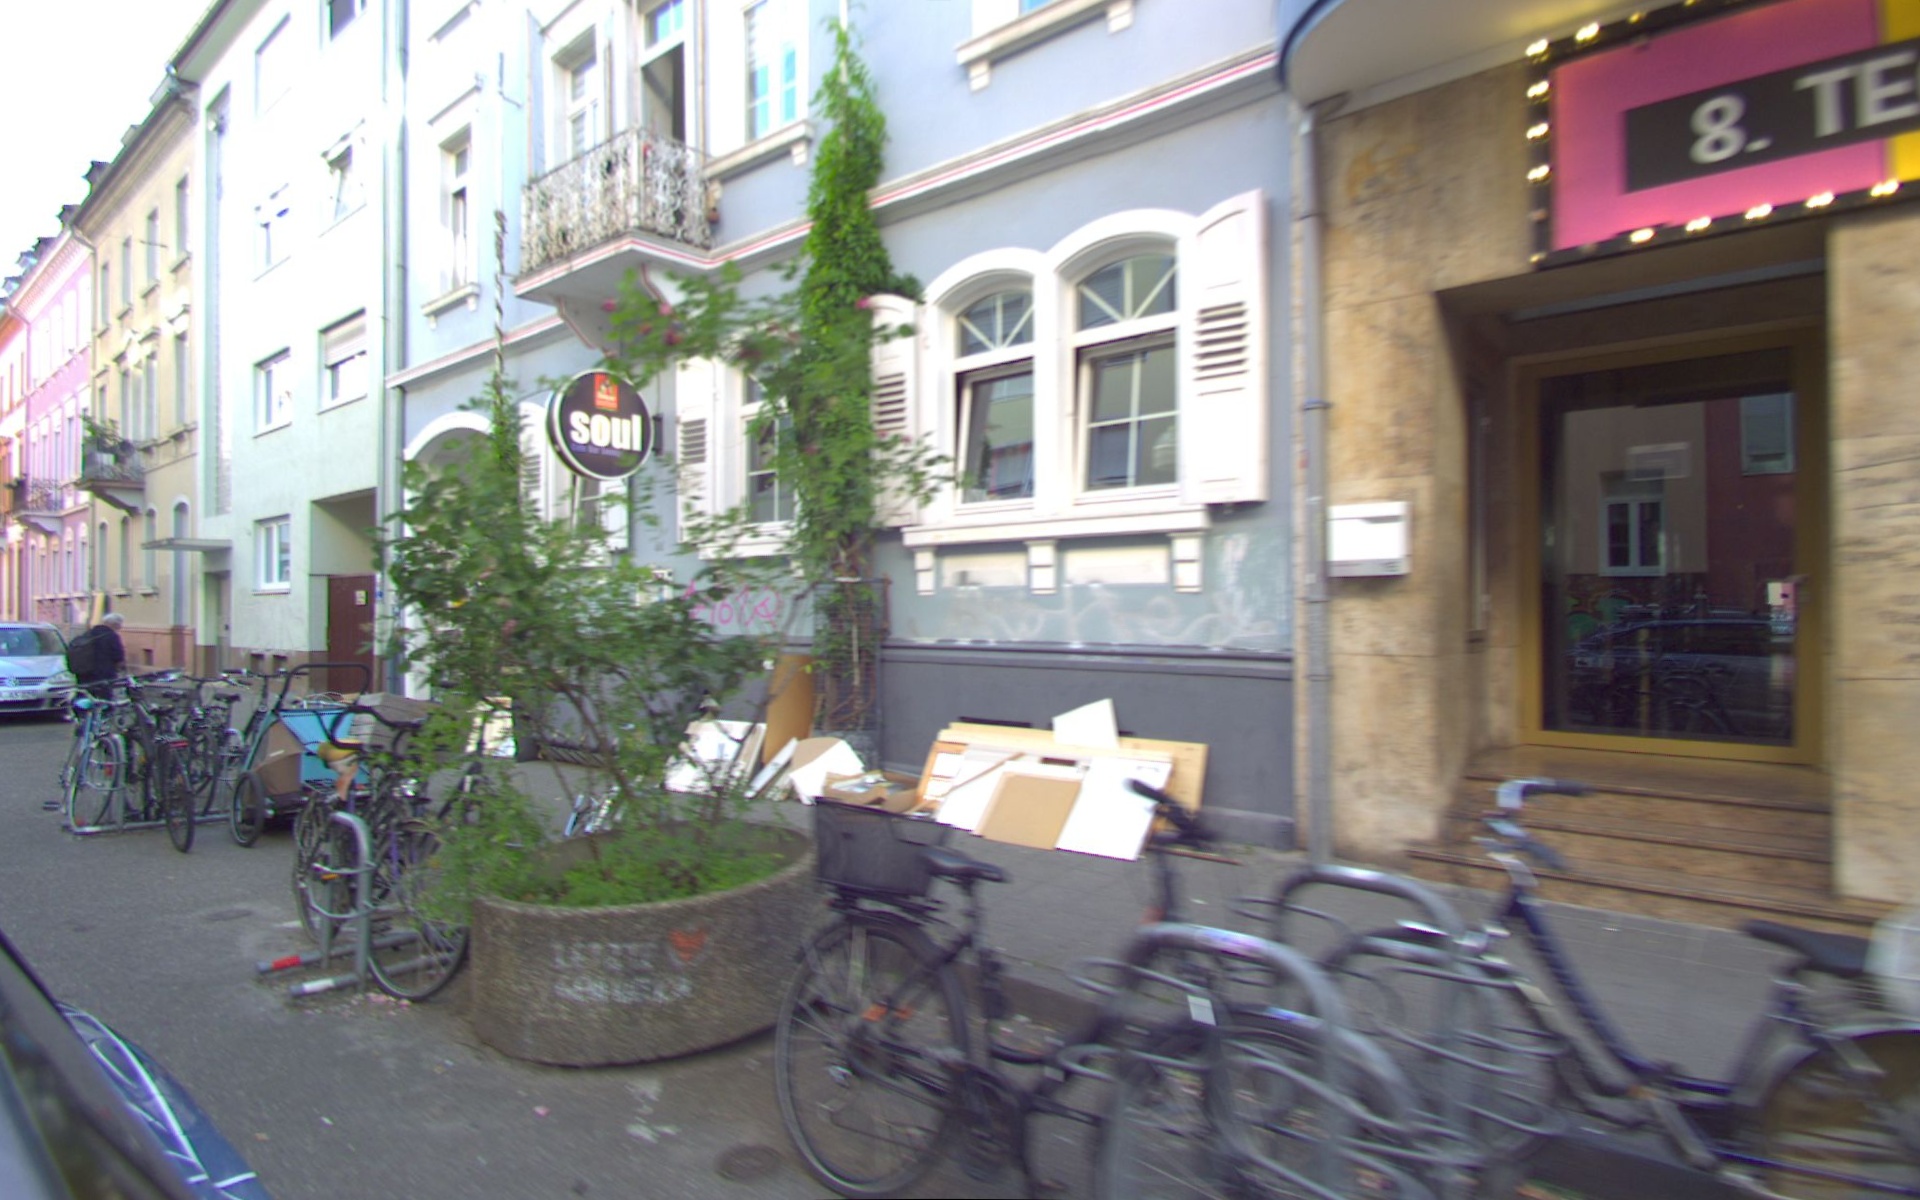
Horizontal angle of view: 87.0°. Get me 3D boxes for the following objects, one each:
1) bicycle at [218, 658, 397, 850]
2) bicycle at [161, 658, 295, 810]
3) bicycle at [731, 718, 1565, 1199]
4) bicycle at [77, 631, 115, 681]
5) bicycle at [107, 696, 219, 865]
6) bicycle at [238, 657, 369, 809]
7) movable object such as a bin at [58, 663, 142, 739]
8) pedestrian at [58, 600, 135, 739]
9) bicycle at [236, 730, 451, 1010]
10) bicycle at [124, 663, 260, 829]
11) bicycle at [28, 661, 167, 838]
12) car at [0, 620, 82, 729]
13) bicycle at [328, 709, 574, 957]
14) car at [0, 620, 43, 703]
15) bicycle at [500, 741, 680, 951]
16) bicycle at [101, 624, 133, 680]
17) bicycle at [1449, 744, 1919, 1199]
[{"bbox_3d":[-4.581,1.026,7.110,0.919,1.184,0.805,-1,-1,38],"label":"bicycle"},{"bbox_3d":[-6.204,1.073,8.540,1.872,1.114,0.439,-1,-1,39],"label":"bicycle"},{"bbox_3d":[0.305,0.908,2.385,1.878,1.102,0.541,-1,0,37],"label":"bicycle"},{"bbox_3d":[-19.791,1.270,23.180,1.493,1.110,0.413,-1,-1,40],"label":"bicycle"},{"bbox_3d":[-5.169,1.121,6.543,1.289,0.923,0.318,-1,-2,41],"label":"bicycle"},{"bbox_3d":[-5.529,1.063,8.482,1.696,1.114,0.439,-1,-1,40],"label":"bicycle"},{"bbox_3d":[-11.440,1.328,13.483,0.834,0.904,0.587,-1,0,-40],"label":"movable object such as a bin"},{"bbox_3d":[-11.152,0.870,13.088,0.704,1.720,0.673,0,0,-37],"label":"pedestrian"},{"bbox_3d":[-2.721,1.091,4.414,1.392,0.923,0.386,-1,-2,41],"label":"bicycle"},{"bbox_3d":[-6.090,1.088,7.988,1.930,1.114,0.439,-1,-1,40],"label":"bicycle"},{"bbox_3d":[-6.435,1.041,7.519,1.828,1.114,0.494,-1,-1,40],"label":"bicycle"},{"bbox_3d":[-14.463,1.048,15.080,4.034,1.466,1.662,-2,-3,44],"label":"car"},{"bbox_3d":[-2.604,1.084,5.104,1.570,0.951,0.548,-1,-2,41],"label":"bicycle"},{"bbox_3d":[-18.565,1.101,18.738,3.996,1.463,1.772,-1,-2,40],"label":"car"},{"bbox_3d":[-1.892,1.184,5.093,1.299,0.824,0.253,-1,-1,41],"label":"bicycle"},{"bbox_3d":[-19.592,1.195,23.515,1.493,1.269,0.315,-1,-1,40],"label":"bicycle"},{"bbox_3d":[1.888,0.919,2.188,1.407,1.053,0.568,-1,-1,36],"label":"bicycle"}]
